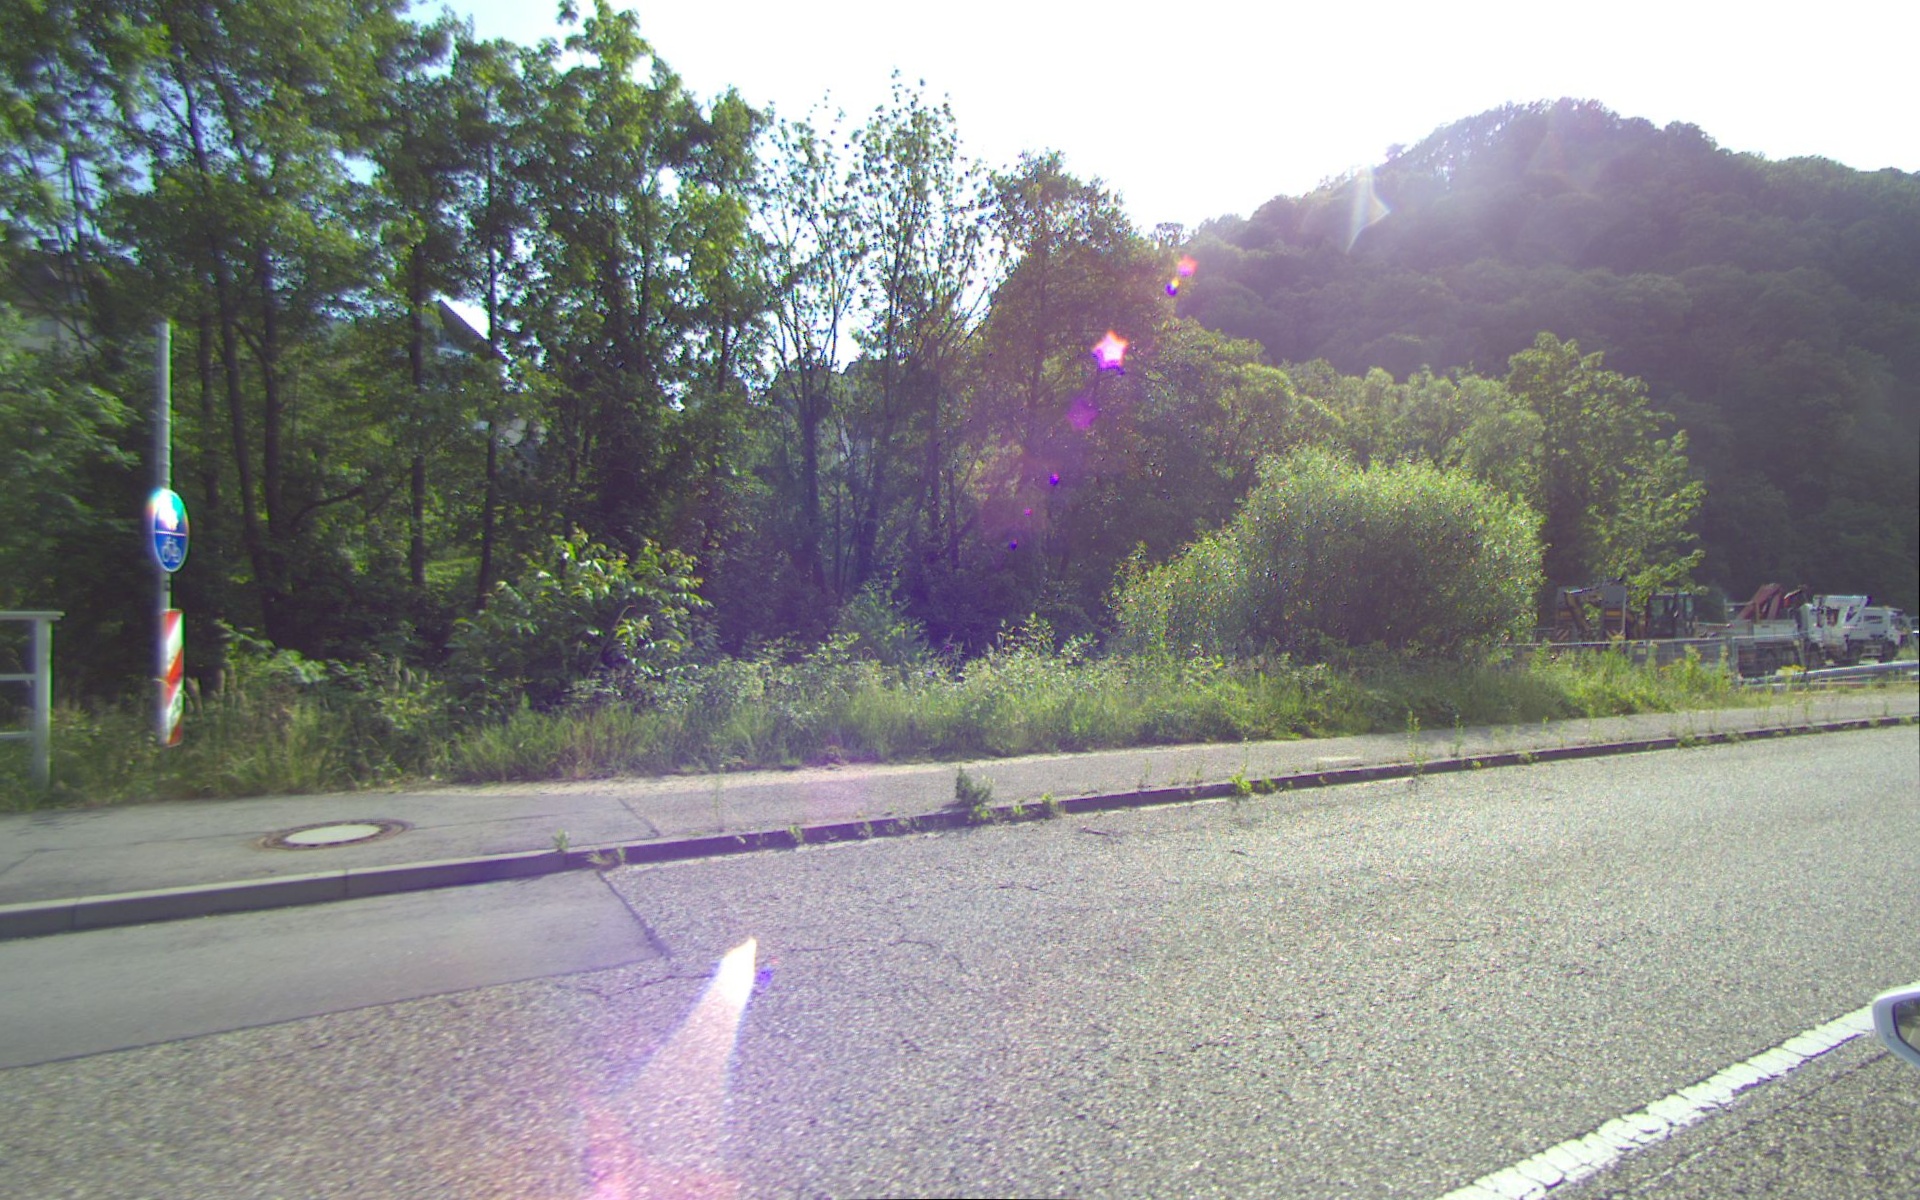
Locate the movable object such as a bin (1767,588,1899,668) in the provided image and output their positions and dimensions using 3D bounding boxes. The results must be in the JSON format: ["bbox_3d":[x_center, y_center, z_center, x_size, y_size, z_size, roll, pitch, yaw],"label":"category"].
[{"bbox_3d":[46.435,1.553,53.375,7.716,3.999,2.885,1,-3,-30],"label":"movable object such as a bin"}]

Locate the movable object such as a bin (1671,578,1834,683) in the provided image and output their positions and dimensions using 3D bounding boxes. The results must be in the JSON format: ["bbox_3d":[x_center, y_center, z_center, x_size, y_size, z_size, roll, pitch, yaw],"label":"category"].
[{"bbox_3d":[32.467,1.283,41.101,7.144,3.999,2.709,1,-3,-30],"label":"movable object such as a bin"}]

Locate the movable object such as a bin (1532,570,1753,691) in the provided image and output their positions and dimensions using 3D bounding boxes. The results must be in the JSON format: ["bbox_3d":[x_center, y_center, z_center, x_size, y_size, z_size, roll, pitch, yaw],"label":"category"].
[{"bbox_3d":[25.135,1.159,36.769,9.873,3.999,2.687,1,-3,-31],"label":"movable object such as a bin"}]
